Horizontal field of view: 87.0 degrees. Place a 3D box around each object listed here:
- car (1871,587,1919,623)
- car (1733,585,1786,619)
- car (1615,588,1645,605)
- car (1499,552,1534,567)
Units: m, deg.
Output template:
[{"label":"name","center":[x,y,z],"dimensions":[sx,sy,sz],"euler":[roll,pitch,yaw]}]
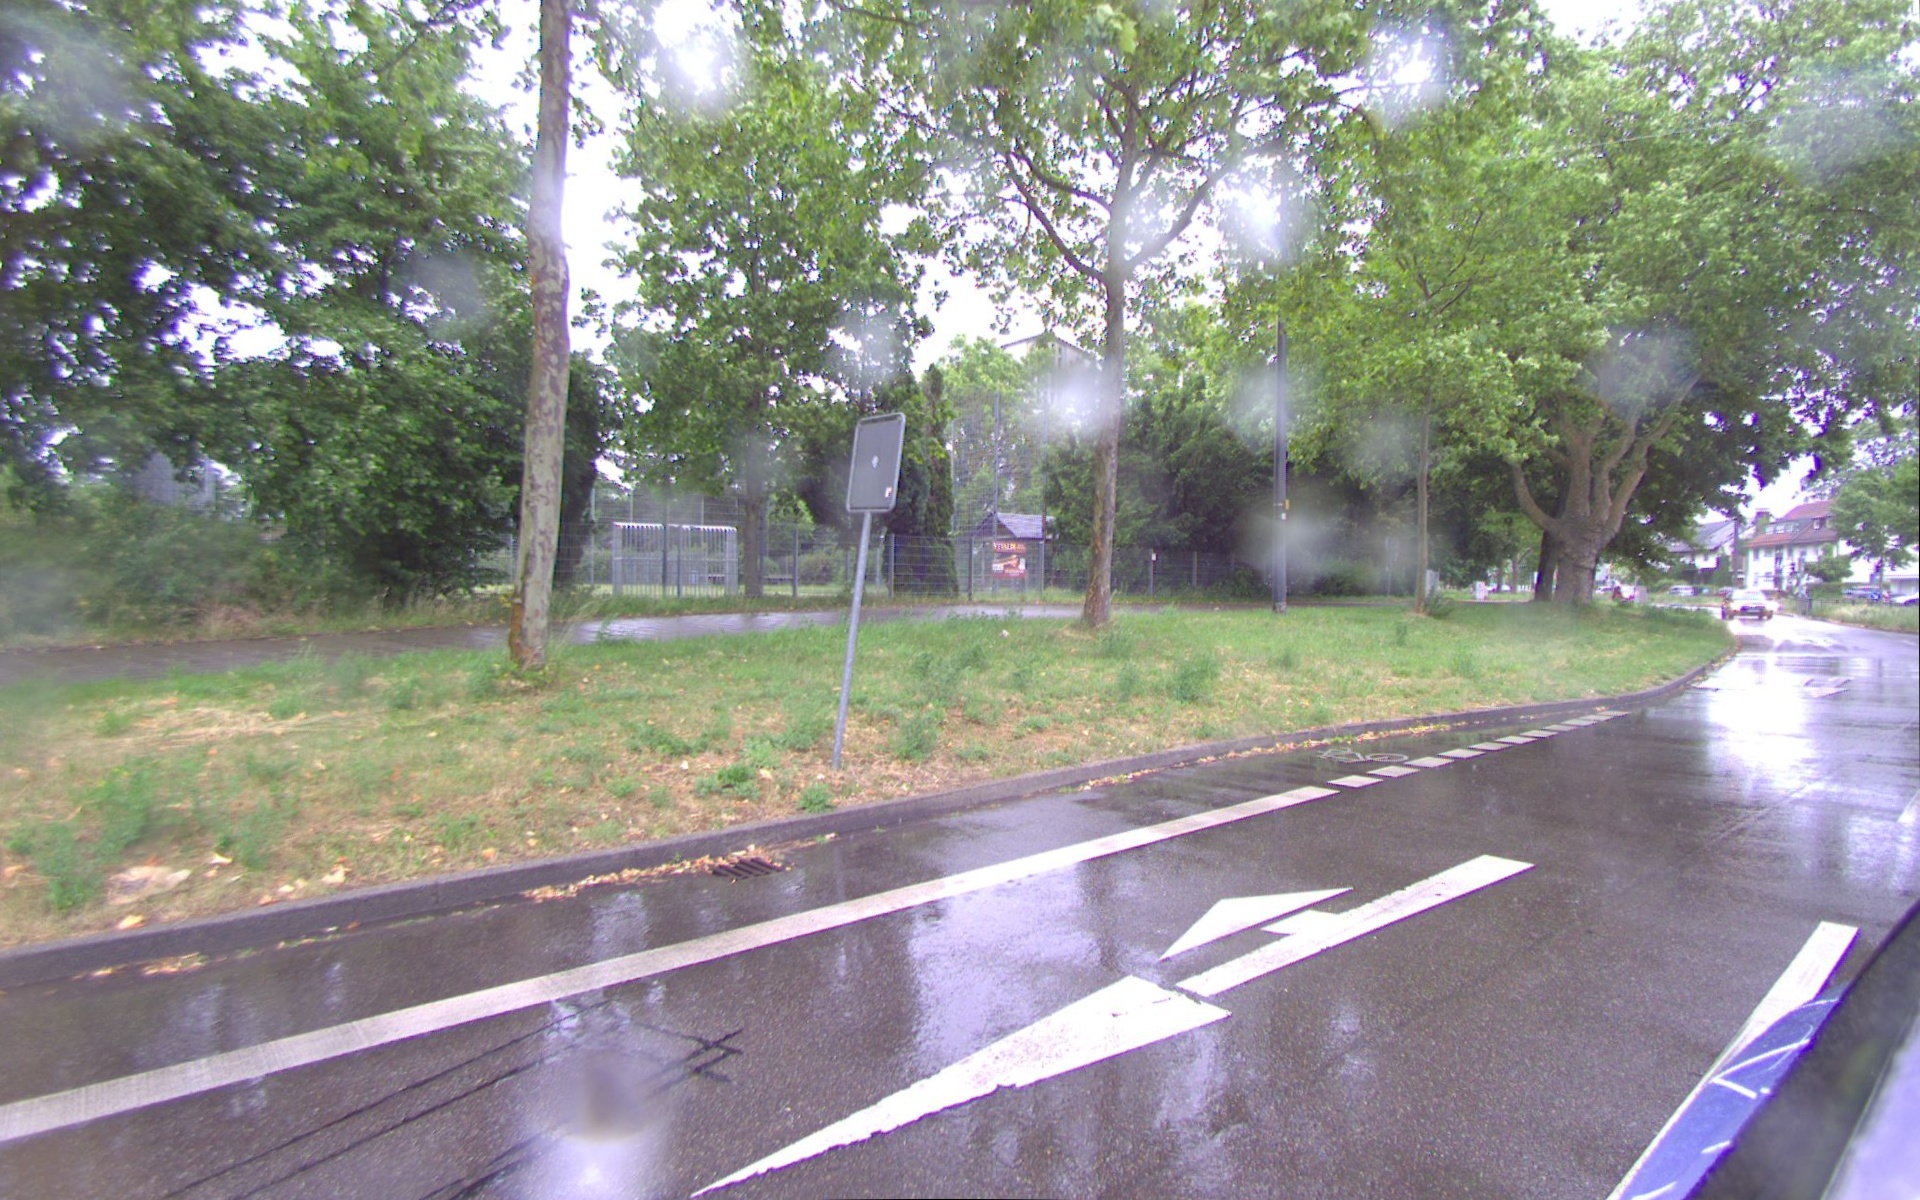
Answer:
[{"label":"car","center":[39.396,0.179,40.646],"dimensions":[4.025,1.438,1.652],"euler":[0,0,39]},{"label":"car","center":[40.237,0.082,50.986],"dimensions":[1.861,1.638,3.761],"euler":[0,0,35]},{"label":"car","center":[55.782,-0.301,84.287],"dimensions":[1.773,1.398,3.825],"euler":[0,0,29]},{"label":"car","center":[73.711,-5.323,134.097],"dimensions":[3.958,1.850,1.983],"euler":[0,0,25]}]
